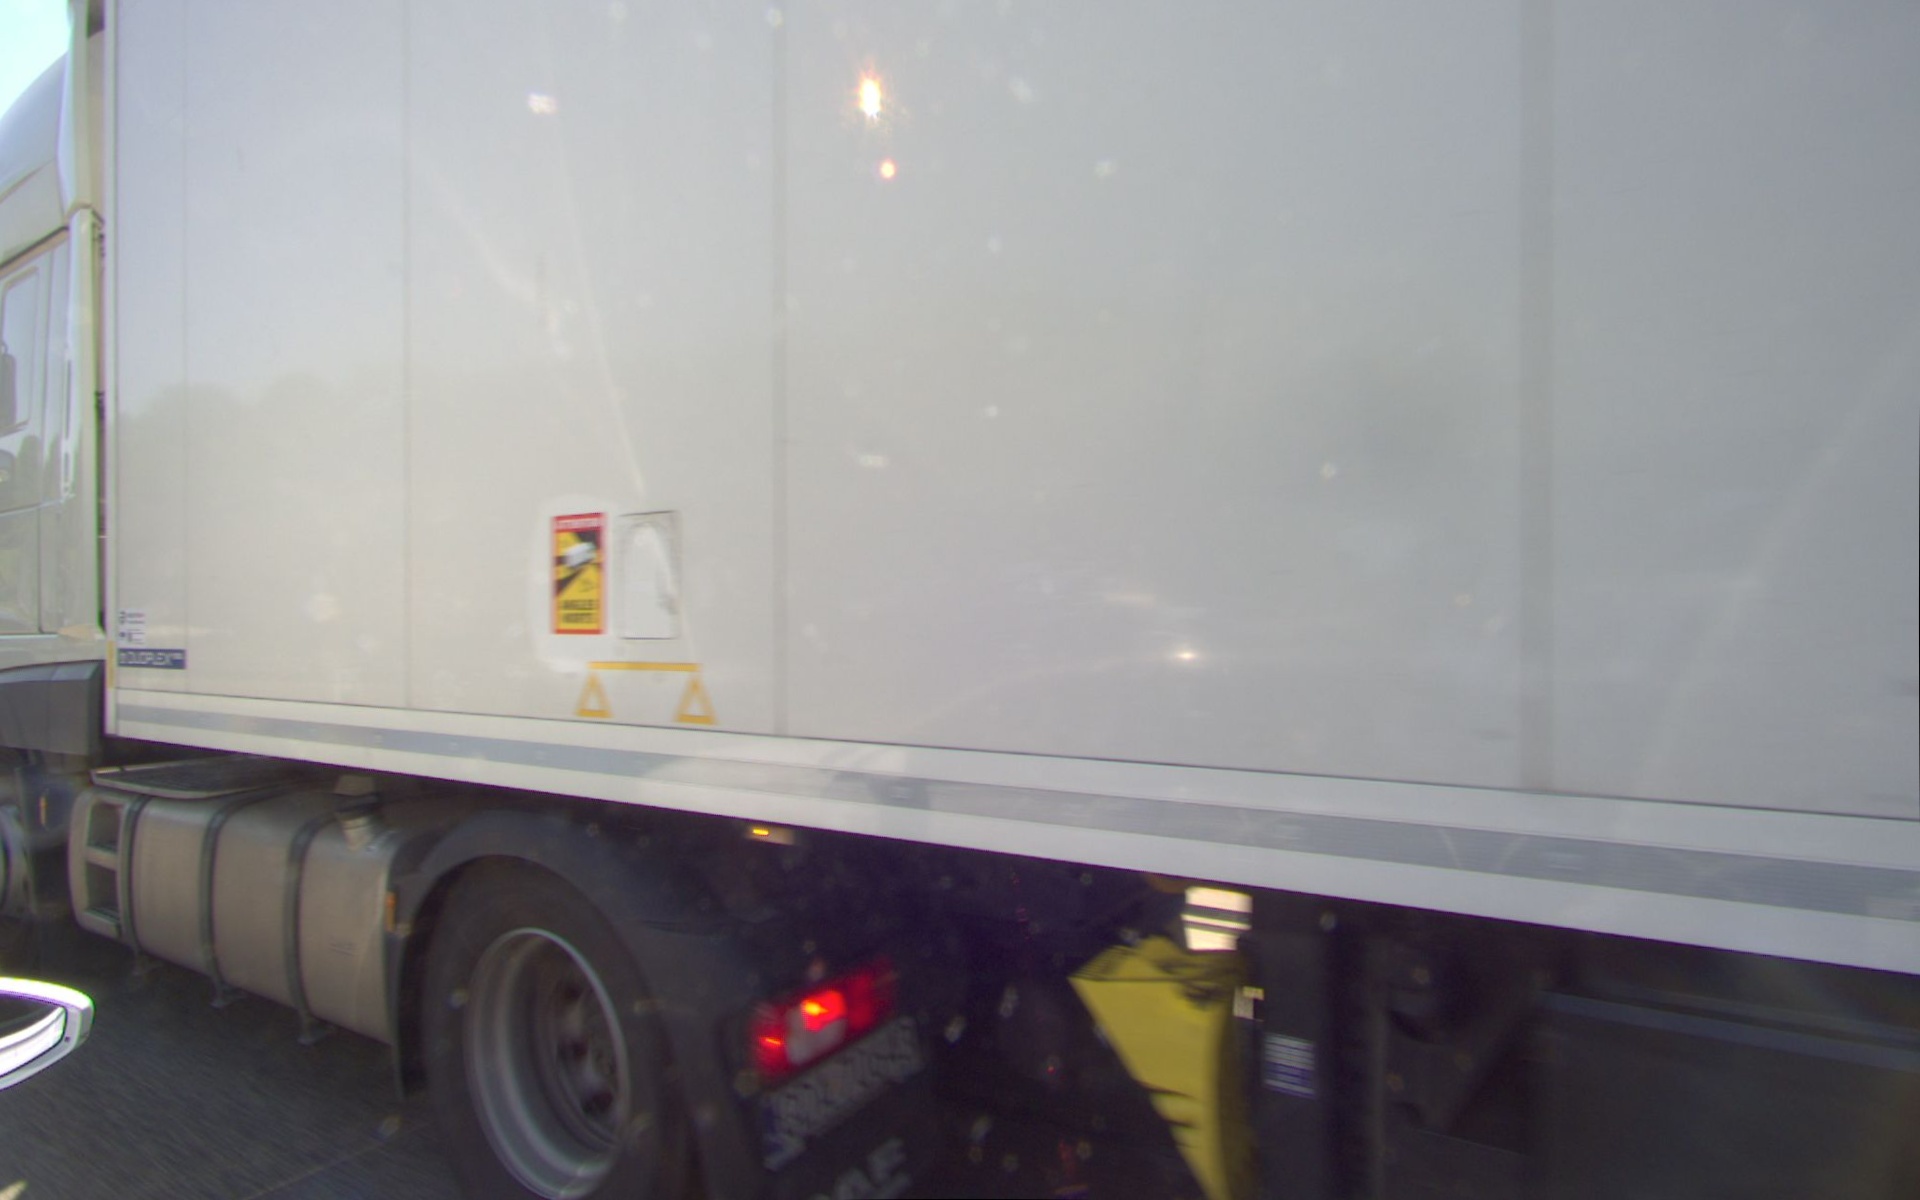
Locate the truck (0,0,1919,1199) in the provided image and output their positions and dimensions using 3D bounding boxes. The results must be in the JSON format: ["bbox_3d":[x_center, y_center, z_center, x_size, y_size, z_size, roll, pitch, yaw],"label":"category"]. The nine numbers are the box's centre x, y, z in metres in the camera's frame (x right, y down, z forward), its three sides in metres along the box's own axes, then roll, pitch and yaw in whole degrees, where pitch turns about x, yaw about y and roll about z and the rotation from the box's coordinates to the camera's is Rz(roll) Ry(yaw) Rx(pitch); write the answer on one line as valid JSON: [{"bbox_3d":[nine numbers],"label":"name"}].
[{"bbox_3d":[-1.490,-0.604,3.888,8.119,4.076,2.509,-1,-2,32],"label":"truck"}]

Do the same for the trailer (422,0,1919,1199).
[{"bbox_3d":[4.370,-0.615,0.266,11.379,4.179,2.528,-1,-2,31],"label":"trailer"}]
